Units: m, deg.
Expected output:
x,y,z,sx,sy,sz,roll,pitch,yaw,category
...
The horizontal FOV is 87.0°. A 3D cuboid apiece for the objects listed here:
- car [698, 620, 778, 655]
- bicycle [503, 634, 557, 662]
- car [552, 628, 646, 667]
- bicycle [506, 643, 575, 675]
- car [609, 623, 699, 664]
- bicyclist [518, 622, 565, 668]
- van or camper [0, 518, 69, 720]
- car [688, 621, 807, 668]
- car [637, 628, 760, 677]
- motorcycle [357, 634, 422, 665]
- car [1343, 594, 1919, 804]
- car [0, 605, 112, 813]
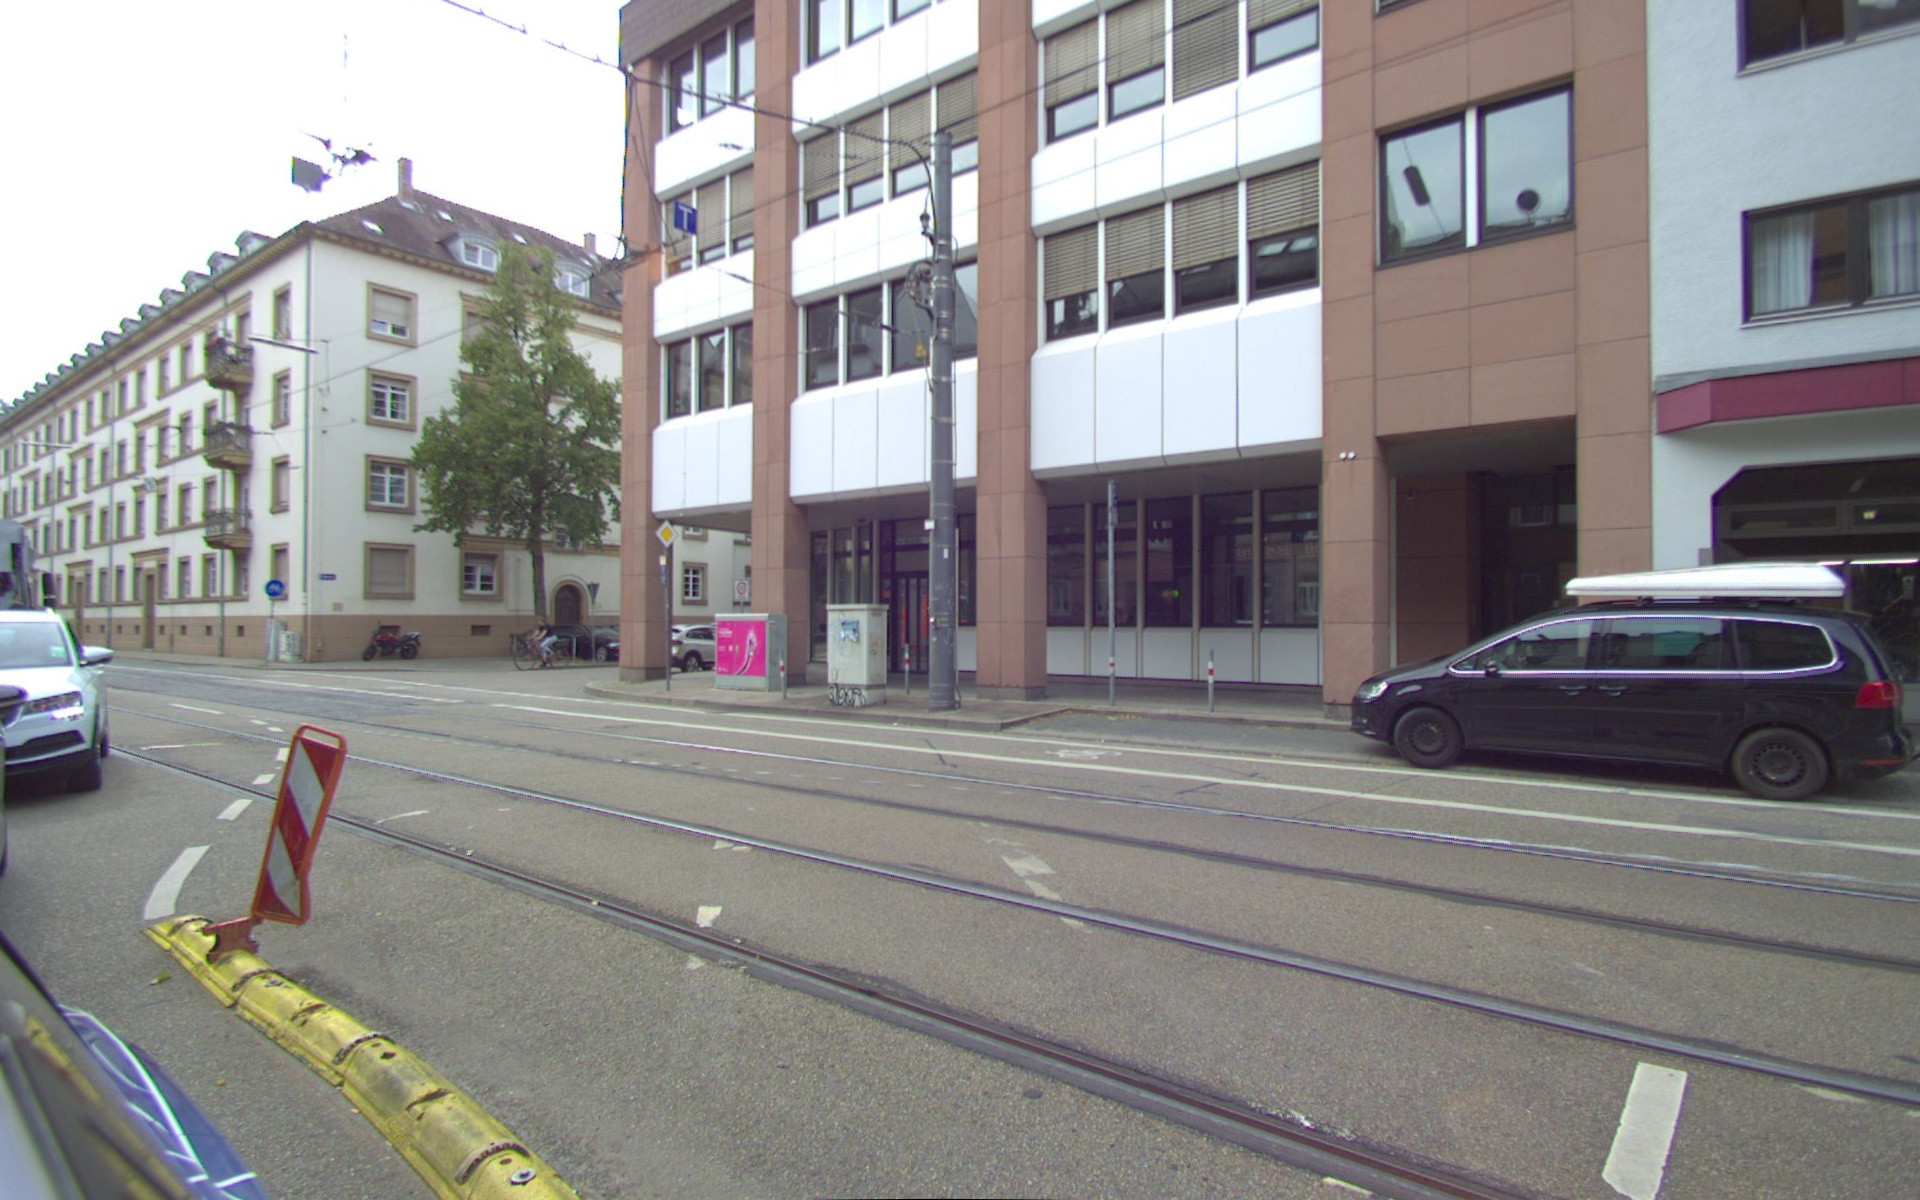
x,y,z,sx,sy,sz,roll,pitch,yaw,category
-9.850,1.649,44.776,3.520,1.473,1.572,-1,-2,38,car
-17.561,1.946,41.386,0.792,1.094,1.900,-2,-2,39,bicycle
-13.805,1.771,38.630,3.869,1.407,1.591,-1,-2,38,car
-13.573,1.897,32.774,1.982,0.972,0.673,1,-3,-44,bicycle
-12.256,1.707,40.427,3.711,1.559,1.591,-1,-2,38,car
-13.570,1.458,32.798,1.241,1.473,0.678,1,-3,-43,bicyclist
-20.343,0.418,19.981,9.642,3.447,2.575,-2,-2,39,van or camper
-7.874,1.609,37.646,3.985,1.549,1.777,-1,-1,-40,car
-7.948,1.560,31.036,1.606,1.399,3.611,-1,-2,31,car
-20.892,1.799,37.077,0.792,1.094,1.900,-2,-2,39,motorcycle
6.559,0.837,10.226,4.694,1.659,1.789,-2,0,40,car
-9.109,0.895,9.222,4.284,1.603,1.749,-2,-1,45,car
